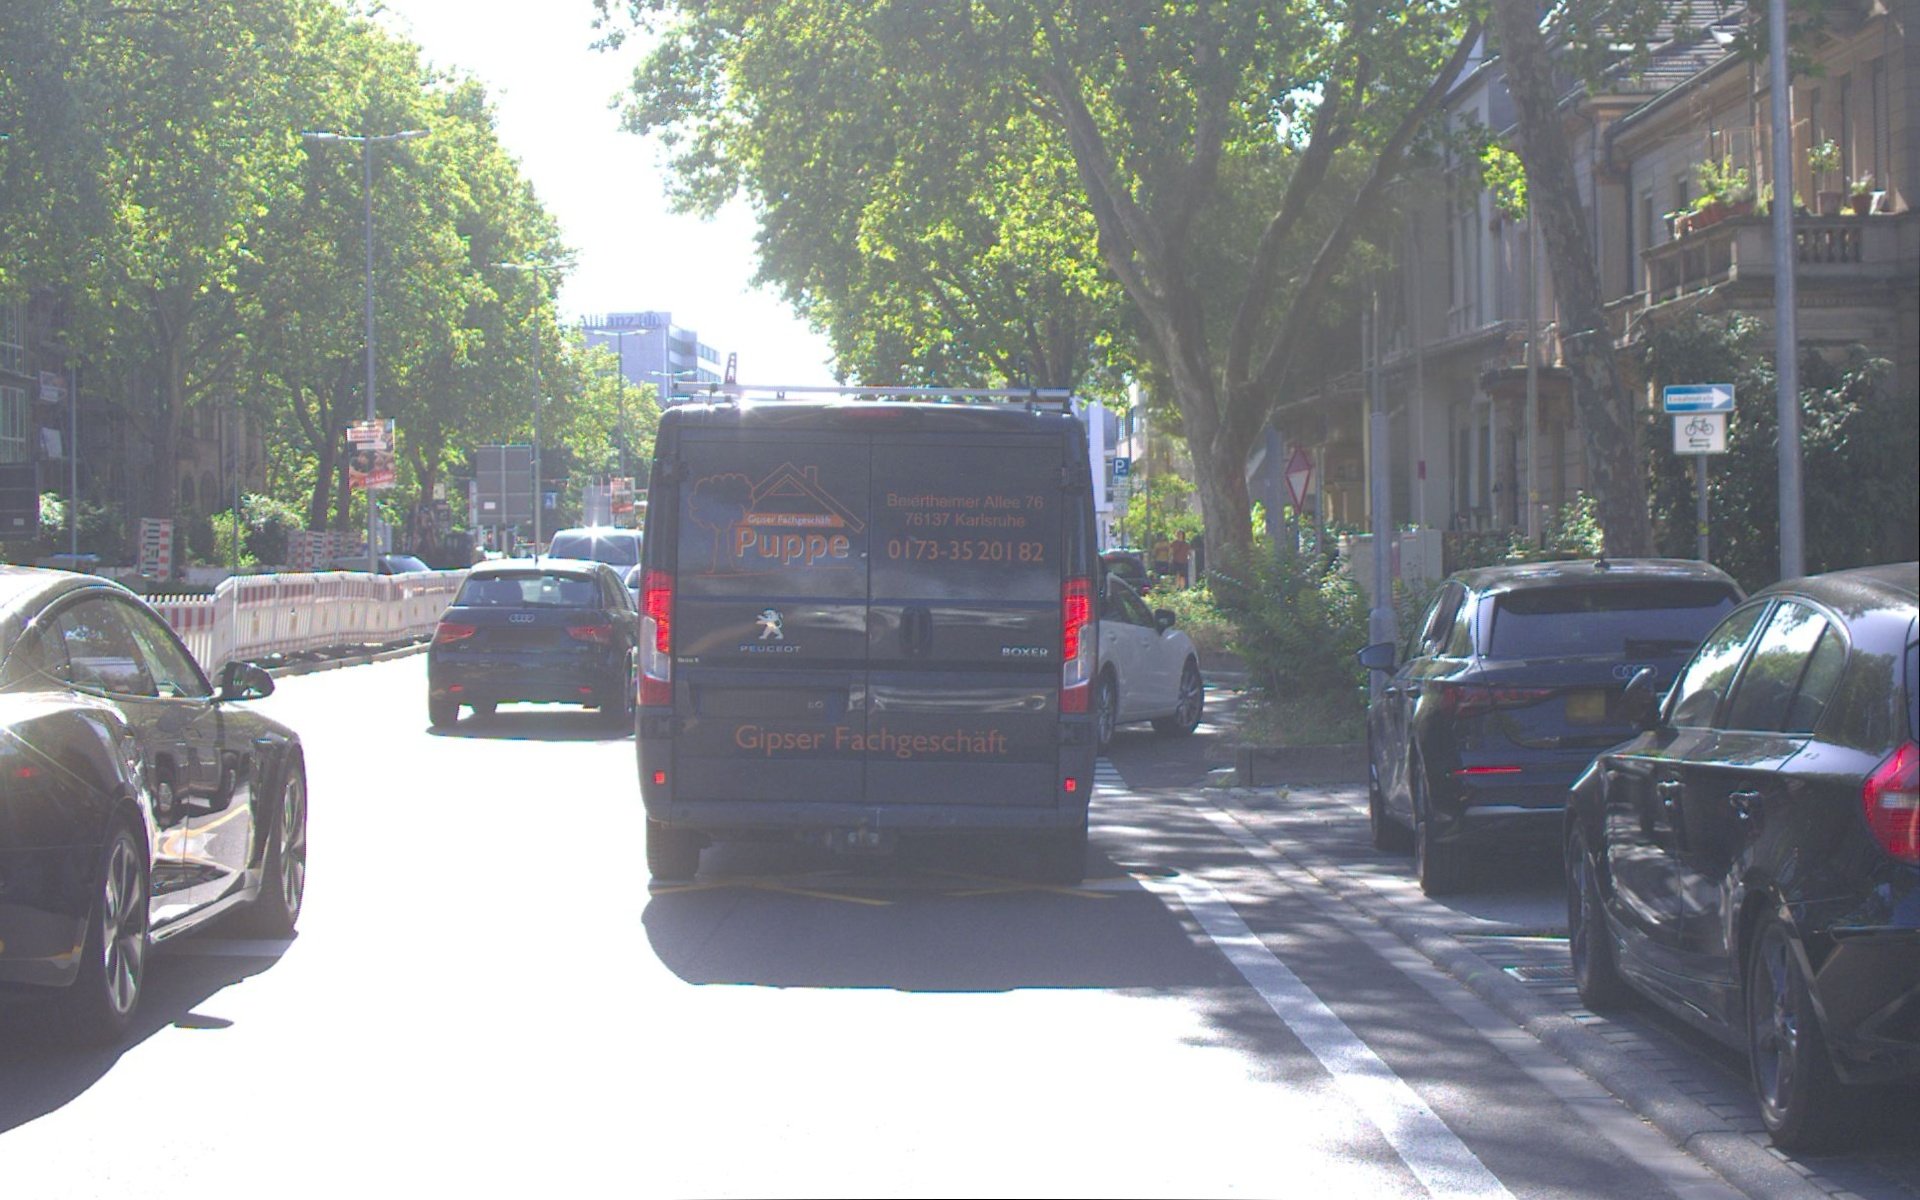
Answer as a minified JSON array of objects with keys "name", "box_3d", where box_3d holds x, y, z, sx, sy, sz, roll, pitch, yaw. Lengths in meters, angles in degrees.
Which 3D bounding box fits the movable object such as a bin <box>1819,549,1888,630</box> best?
[{"name":"movable object such as a bin","box_3d":[10.832,-0.133,41.689,0.687,0.967,0.548,-1,1,2]}]

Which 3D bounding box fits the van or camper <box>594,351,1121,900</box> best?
[{"name":"van or camper","box_3d":[-0.517,0.076,16.923,2.245,2.338,4.538,0,1,-2]}]

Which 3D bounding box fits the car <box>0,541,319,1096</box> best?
[{"name":"car","box_3d":[-3.430,0.547,11.374,1.837,1.478,4.476,0,1,-1]}]

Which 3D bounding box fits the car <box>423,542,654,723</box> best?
[{"name":"car","box_3d":[-3.638,0.243,30.187,1.619,1.481,3.734,0,1,-1]}]

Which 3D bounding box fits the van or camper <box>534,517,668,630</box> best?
[{"name":"van or camper","box_3d":[-6.776,-0.514,65.360,1.993,2.007,5.329,-1,1,0]}]

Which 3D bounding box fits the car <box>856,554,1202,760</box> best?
[{"name":"car","box_3d":[0.647,0.407,27.910,1.835,1.480,4.054,-1,1,16]}]

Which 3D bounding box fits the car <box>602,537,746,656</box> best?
[{"name":"car","box_3d":[-3.716,-0.072,45.134,1.619,1.481,3.734,0,1,-1]}]

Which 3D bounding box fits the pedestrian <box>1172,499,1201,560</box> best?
[{"name":"pedestrian","box_3d":[8.654,-2.690,131.287,1.058,2.338,0.816,1,0,2]}]

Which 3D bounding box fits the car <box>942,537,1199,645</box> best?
[{"name":"car","box_3d":[1.841,-0.151,56.608,3.988,1.563,1.778,3,0,8]}]

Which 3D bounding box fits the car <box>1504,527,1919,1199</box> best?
[{"name":"car","box_3d":[2.687,0.548,9.499,1.619,1.481,4.057,-2,1,-1]}]

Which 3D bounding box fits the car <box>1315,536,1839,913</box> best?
[{"name":"car","box_3d":[2.744,0.479,16.145,1.619,1.481,4.098,-2,1,-1]}]
